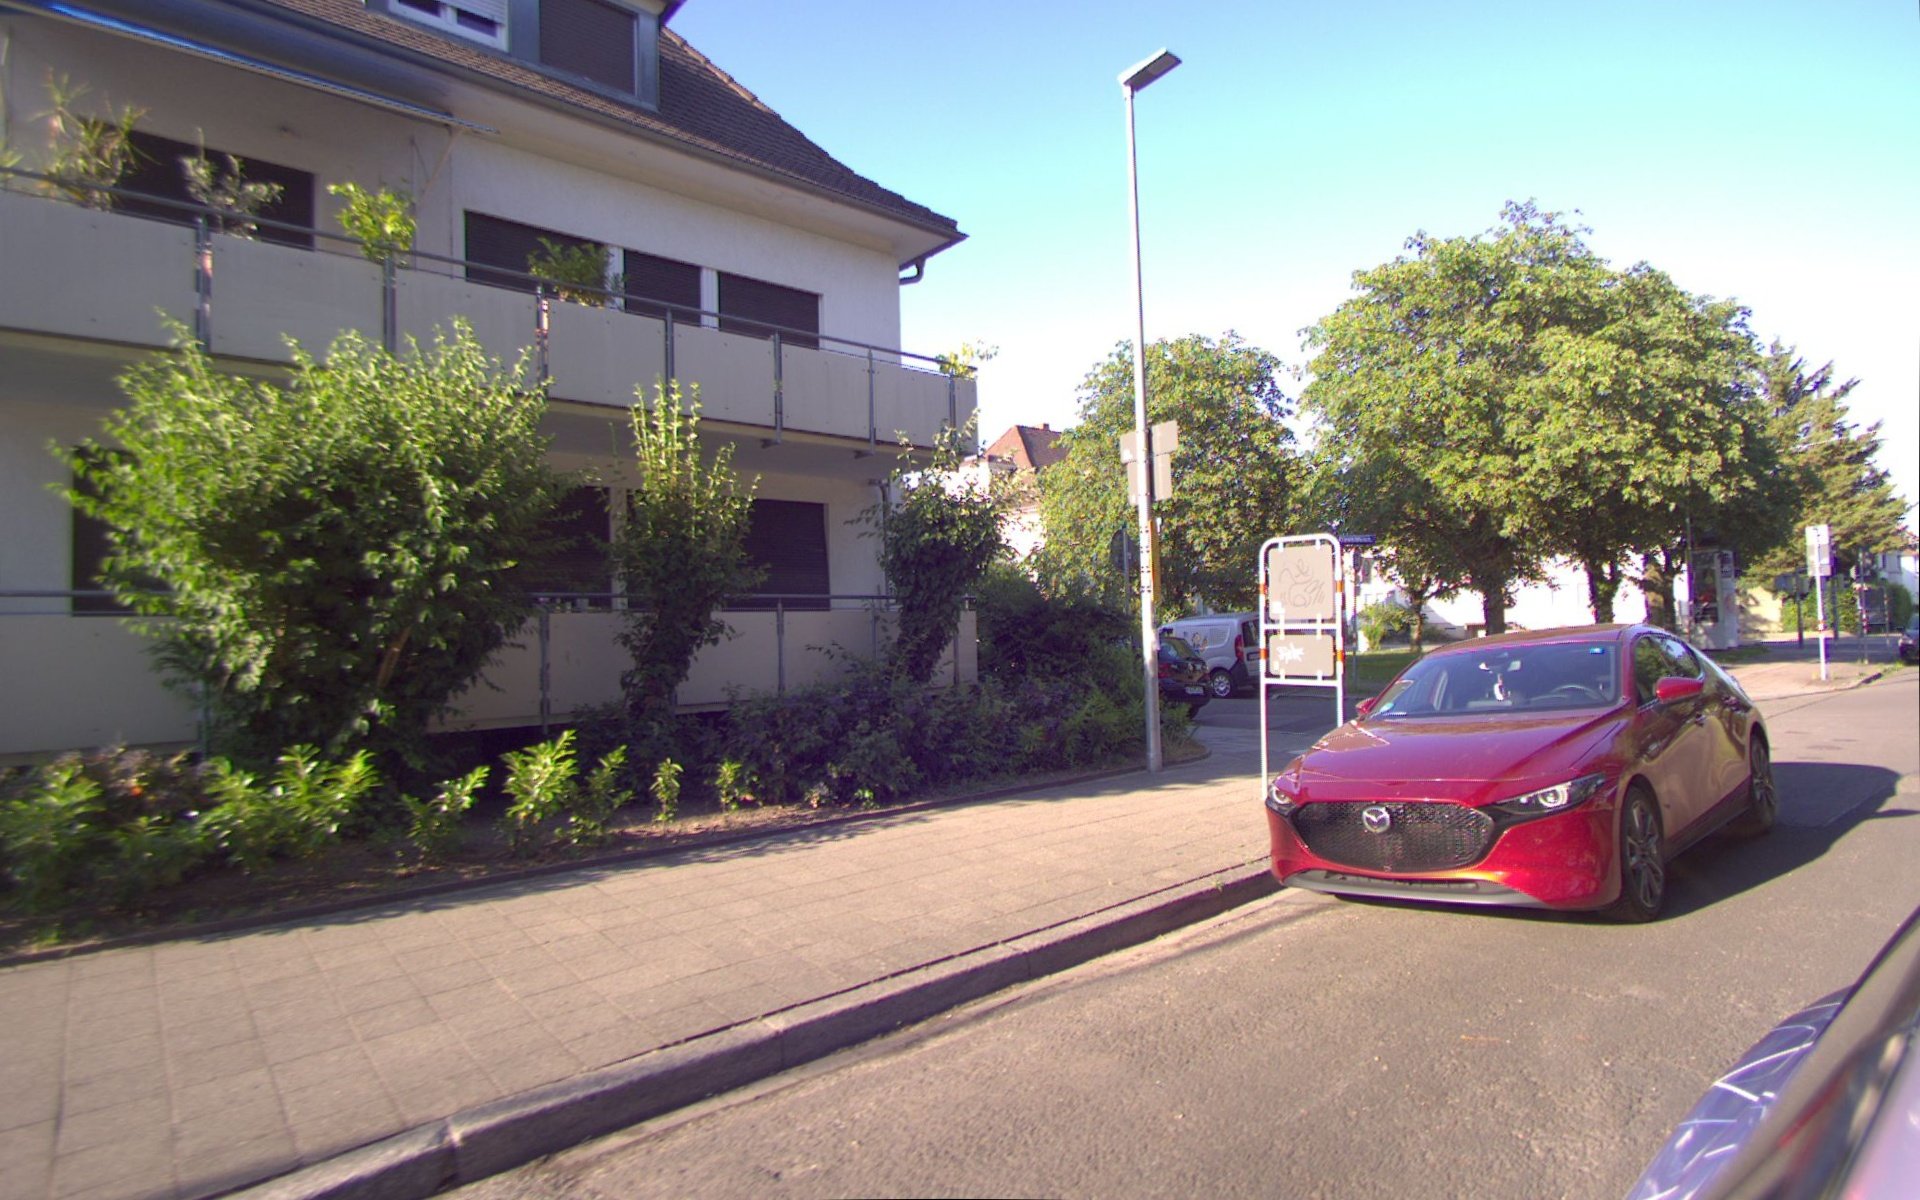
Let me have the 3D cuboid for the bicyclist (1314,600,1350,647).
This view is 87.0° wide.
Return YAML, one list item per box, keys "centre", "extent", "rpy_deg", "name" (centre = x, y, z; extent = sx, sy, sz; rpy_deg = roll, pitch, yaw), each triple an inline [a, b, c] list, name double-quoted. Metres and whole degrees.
- centre: [14.499, 0.939, 39.479]
  extent: [0.875, 1.755, 0.818]
  rpy_deg: [-2, -4, -18]
  name: "bicyclist"

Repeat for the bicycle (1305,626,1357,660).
- centre: [14.446, 1.661, 39.449]
  extent: [1.866, 1.199, 0.575]
  rpy_deg: [-2, -4, -19]
  name: "bicycle"

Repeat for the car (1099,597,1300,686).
- centre: [5.649, 1.028, 24.264]
  extent: [1.995, 1.899, 4.247]
  rpy_deg: [-1, -3, -40]
  name: "car"

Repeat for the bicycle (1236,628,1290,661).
- centre: [11.751, 1.735, 39.290]
  extent: [1.928, 1.198, 0.492]
  rpy_deg: [-2, 1, 4]
  name: "bicycle"

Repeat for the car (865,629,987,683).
- centre: [-1.130, 1.794, 31.959]
  extent: [1.499, 1.543, 3.921]
  rpy_deg: [-2, -3, -45]
  name: "car"

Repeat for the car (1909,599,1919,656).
- centre: [28.455, 0.716, 28.951]
  extent: [1.725, 1.530, 4.468]
  rpy_deg: [-6, -4, 44]
  name: "car"

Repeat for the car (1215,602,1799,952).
- centre: [3.543, 0.796, 6.199]
  extent: [4.130, 1.377, 1.711]
  rpy_deg: [-1, -4, -41]
  name: "car"

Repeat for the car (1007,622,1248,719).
- centre: [2.826, 1.203, 17.784]
  extent: [1.686, 1.465, 3.992]
  rpy_deg: [-1, -2, -41]
  name: "car"
